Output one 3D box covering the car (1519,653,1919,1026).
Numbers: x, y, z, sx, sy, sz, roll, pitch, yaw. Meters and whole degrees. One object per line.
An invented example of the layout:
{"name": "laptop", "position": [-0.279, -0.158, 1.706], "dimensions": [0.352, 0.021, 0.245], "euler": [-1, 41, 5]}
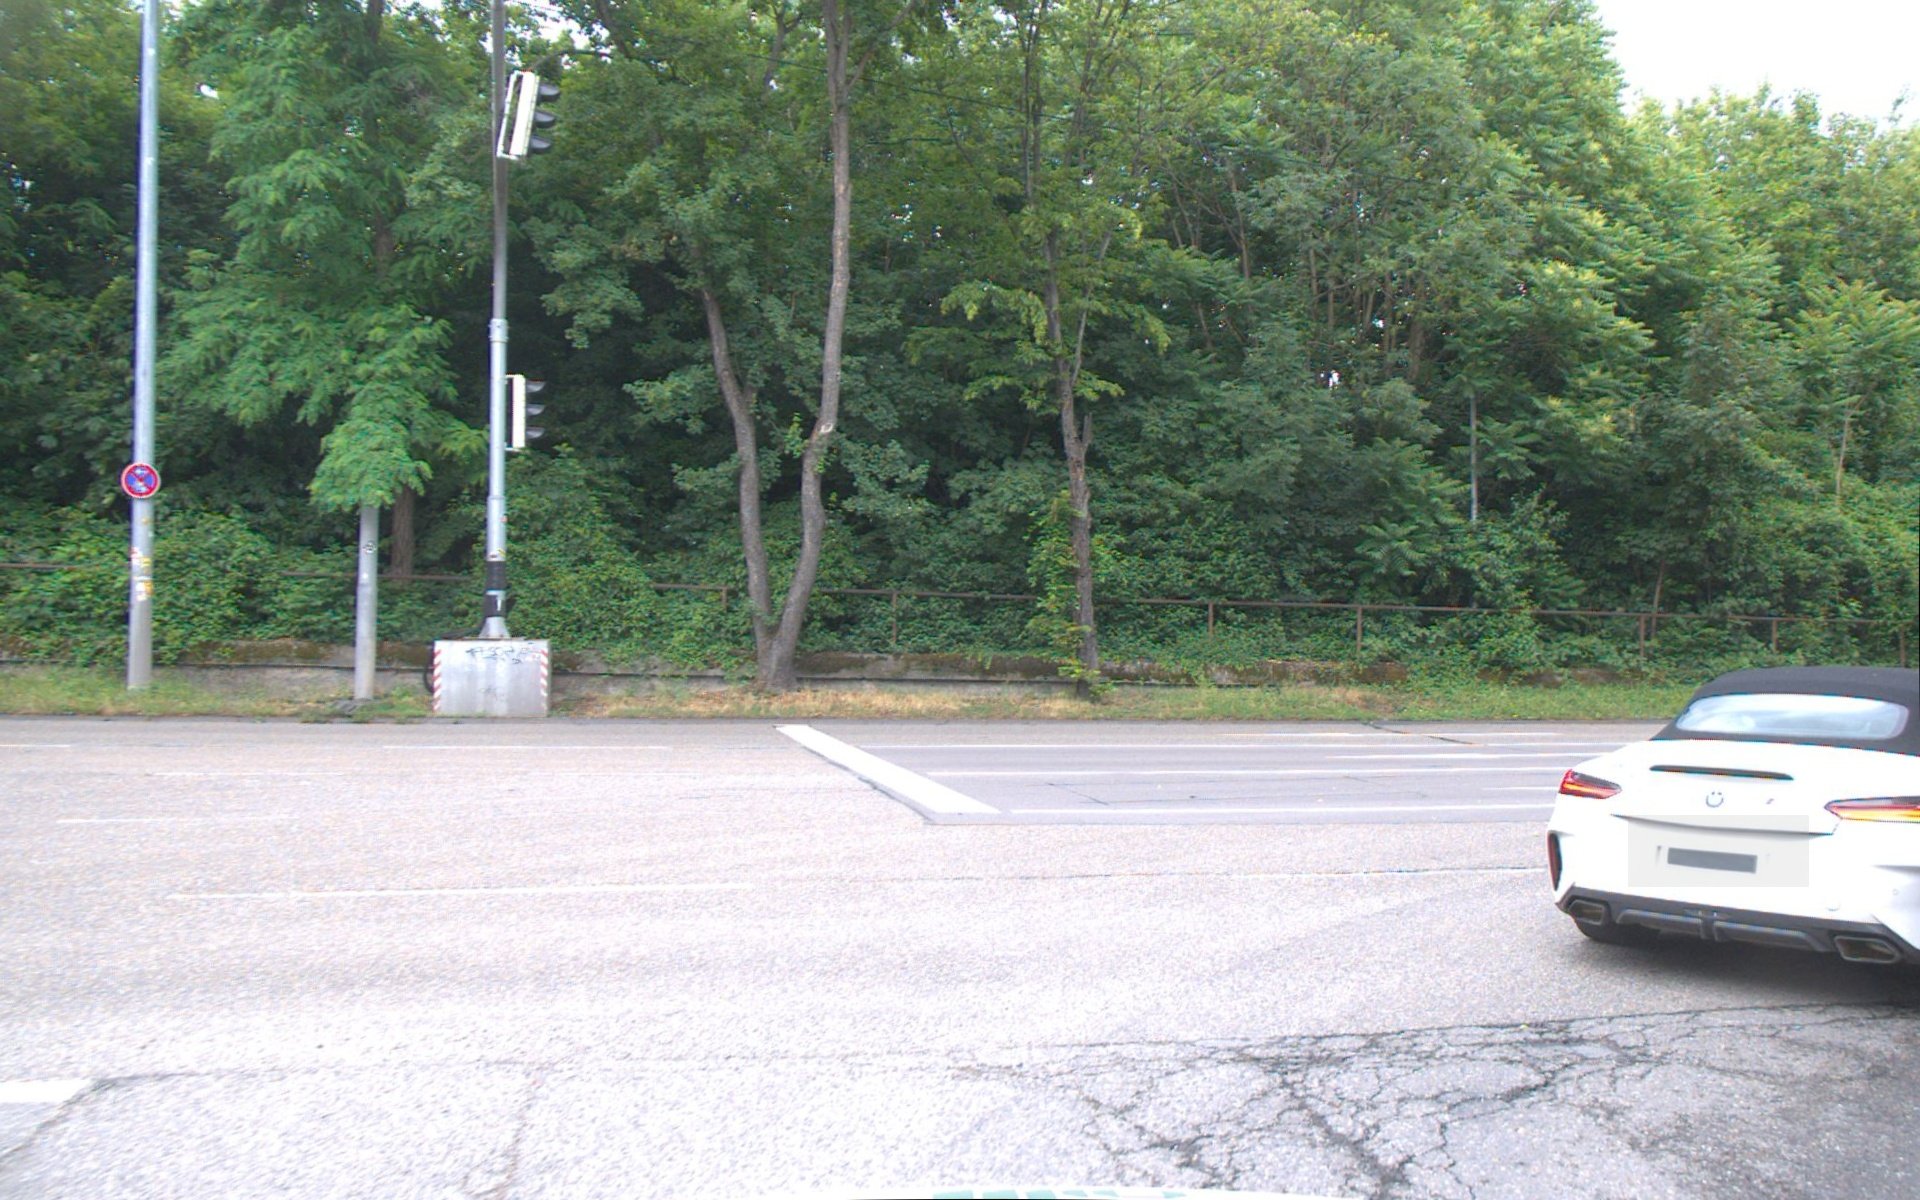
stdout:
{"name": "car", "position": [4.466, 0.946, 7.964], "dimensions": [3.843, 1.332, 1.850], "euler": [1, -1, -44]}
